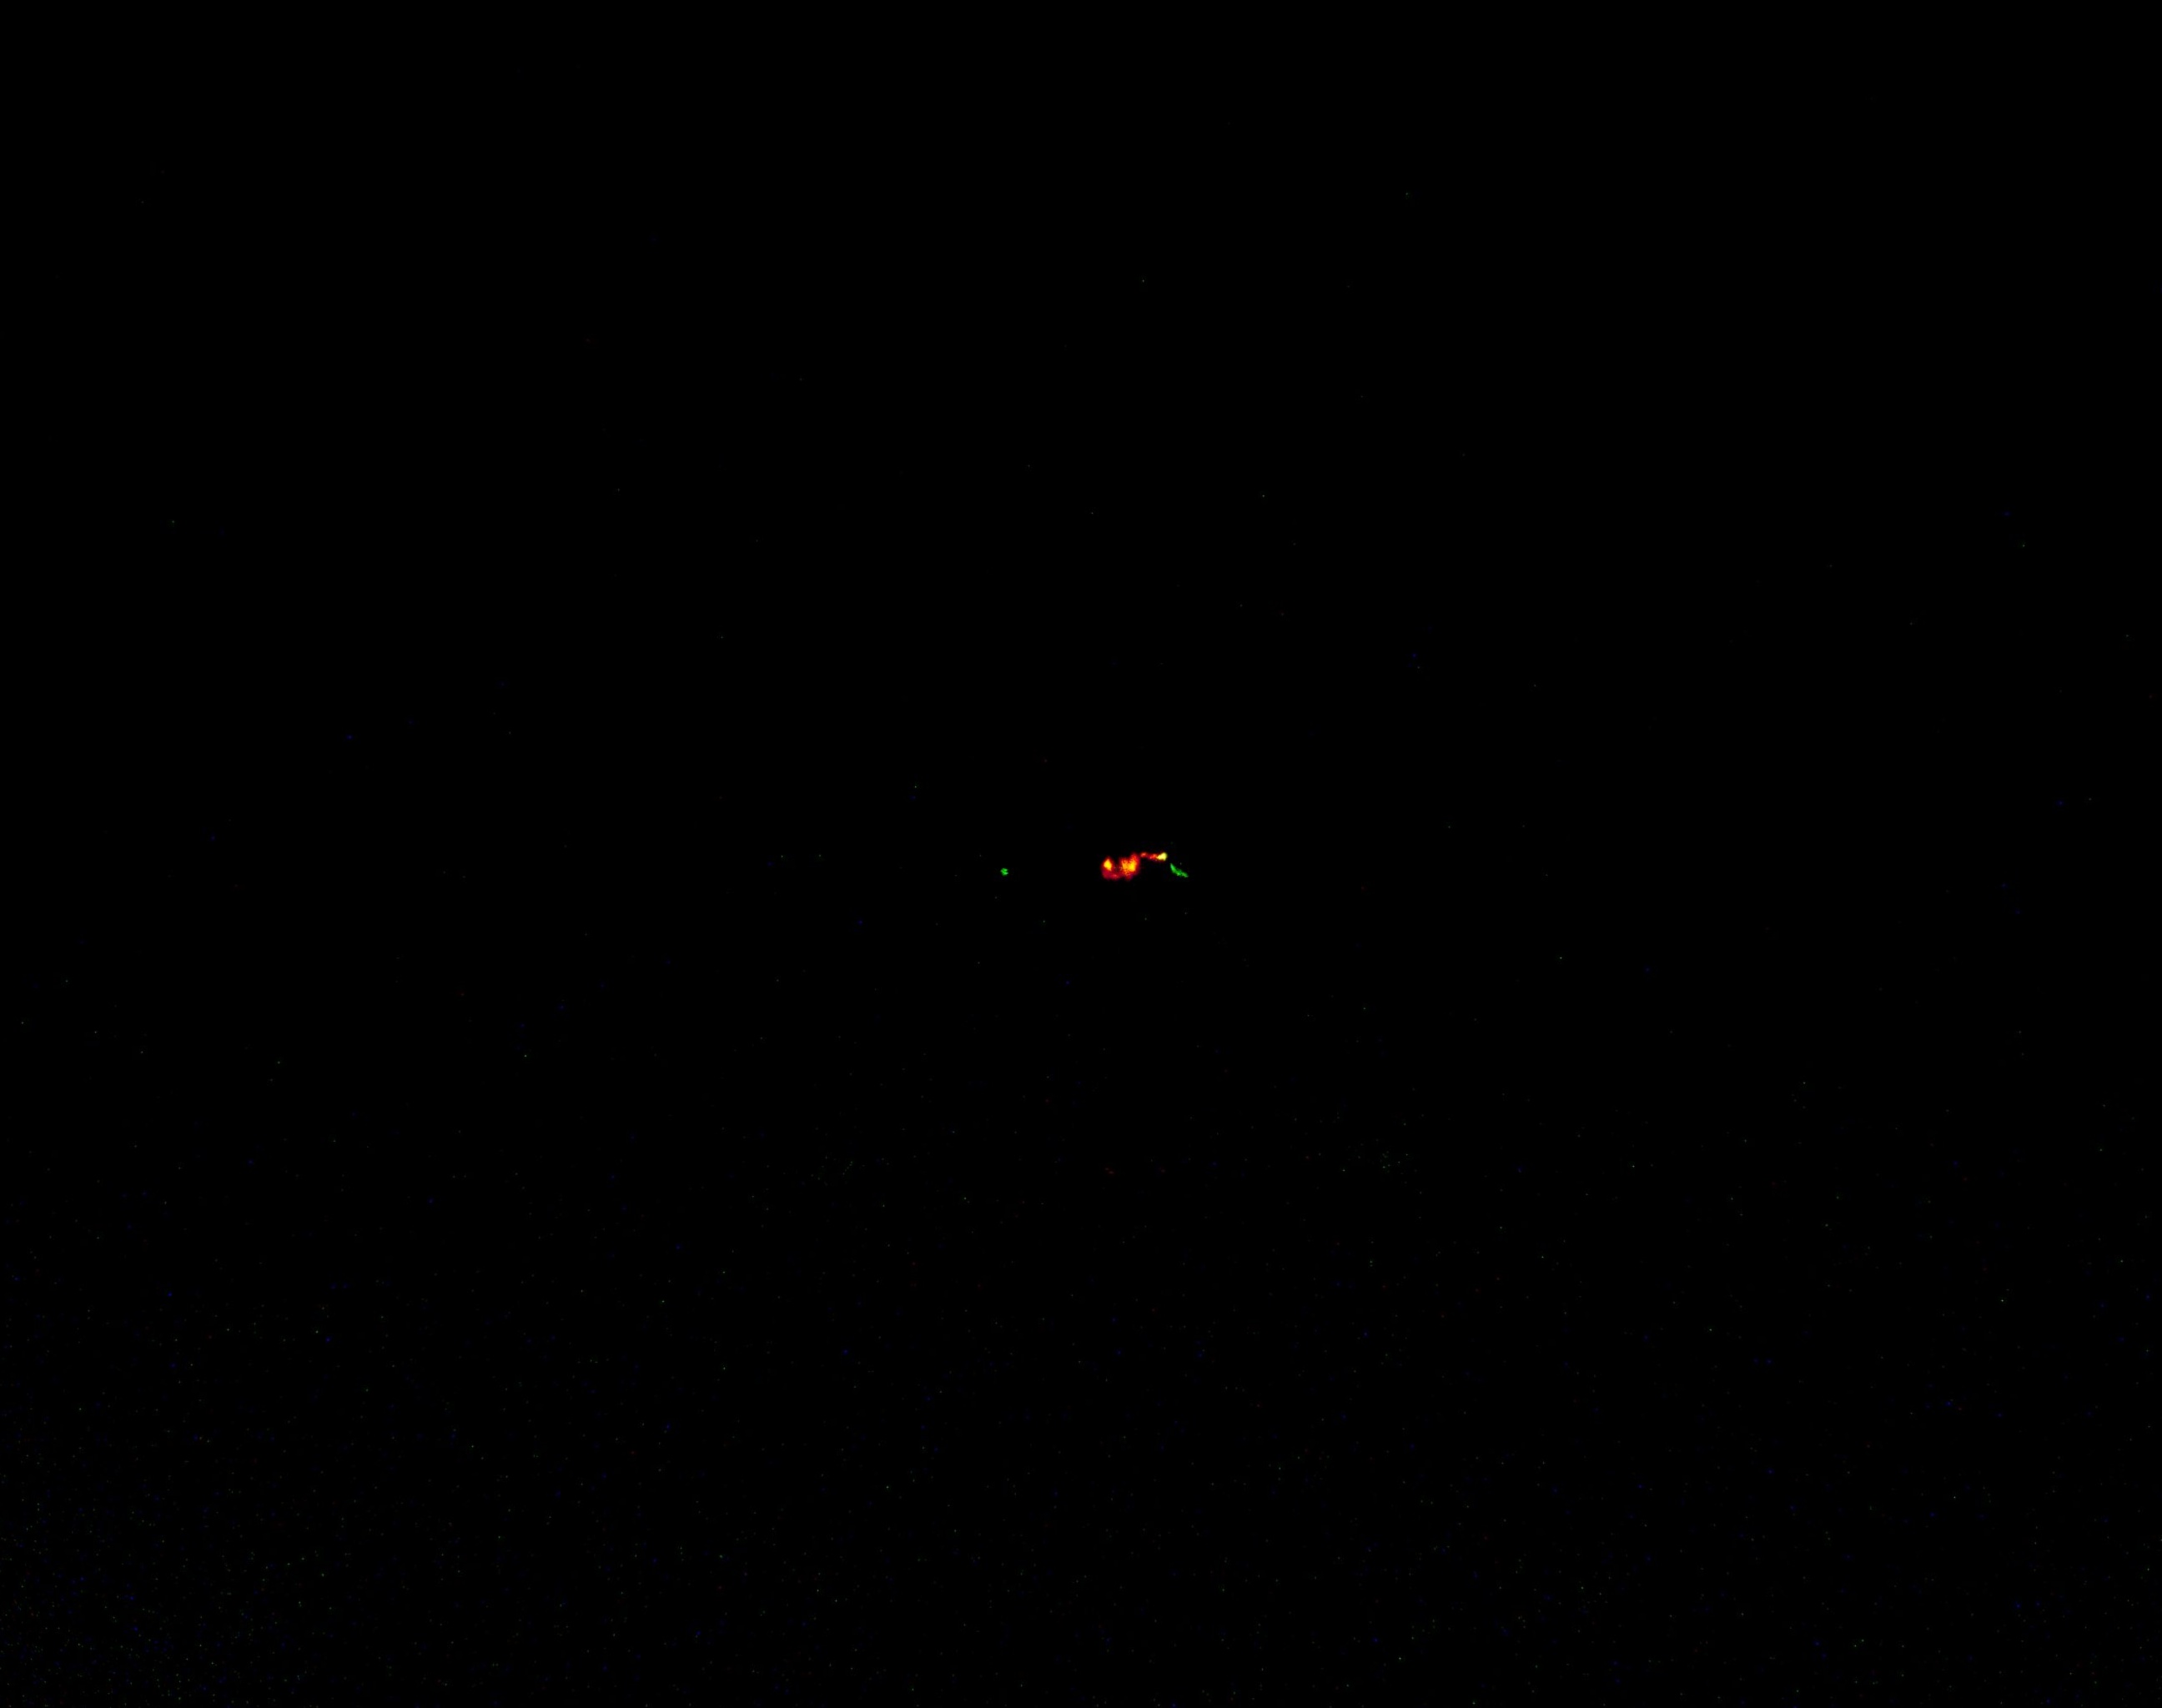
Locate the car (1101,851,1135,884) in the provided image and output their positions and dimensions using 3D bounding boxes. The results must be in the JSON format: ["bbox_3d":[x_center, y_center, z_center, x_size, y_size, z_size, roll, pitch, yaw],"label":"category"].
[{"bbox_3d":[2.171,0.738,46.909,1.835,1.740,4.003,-1,0,3],"label":"car"}]
